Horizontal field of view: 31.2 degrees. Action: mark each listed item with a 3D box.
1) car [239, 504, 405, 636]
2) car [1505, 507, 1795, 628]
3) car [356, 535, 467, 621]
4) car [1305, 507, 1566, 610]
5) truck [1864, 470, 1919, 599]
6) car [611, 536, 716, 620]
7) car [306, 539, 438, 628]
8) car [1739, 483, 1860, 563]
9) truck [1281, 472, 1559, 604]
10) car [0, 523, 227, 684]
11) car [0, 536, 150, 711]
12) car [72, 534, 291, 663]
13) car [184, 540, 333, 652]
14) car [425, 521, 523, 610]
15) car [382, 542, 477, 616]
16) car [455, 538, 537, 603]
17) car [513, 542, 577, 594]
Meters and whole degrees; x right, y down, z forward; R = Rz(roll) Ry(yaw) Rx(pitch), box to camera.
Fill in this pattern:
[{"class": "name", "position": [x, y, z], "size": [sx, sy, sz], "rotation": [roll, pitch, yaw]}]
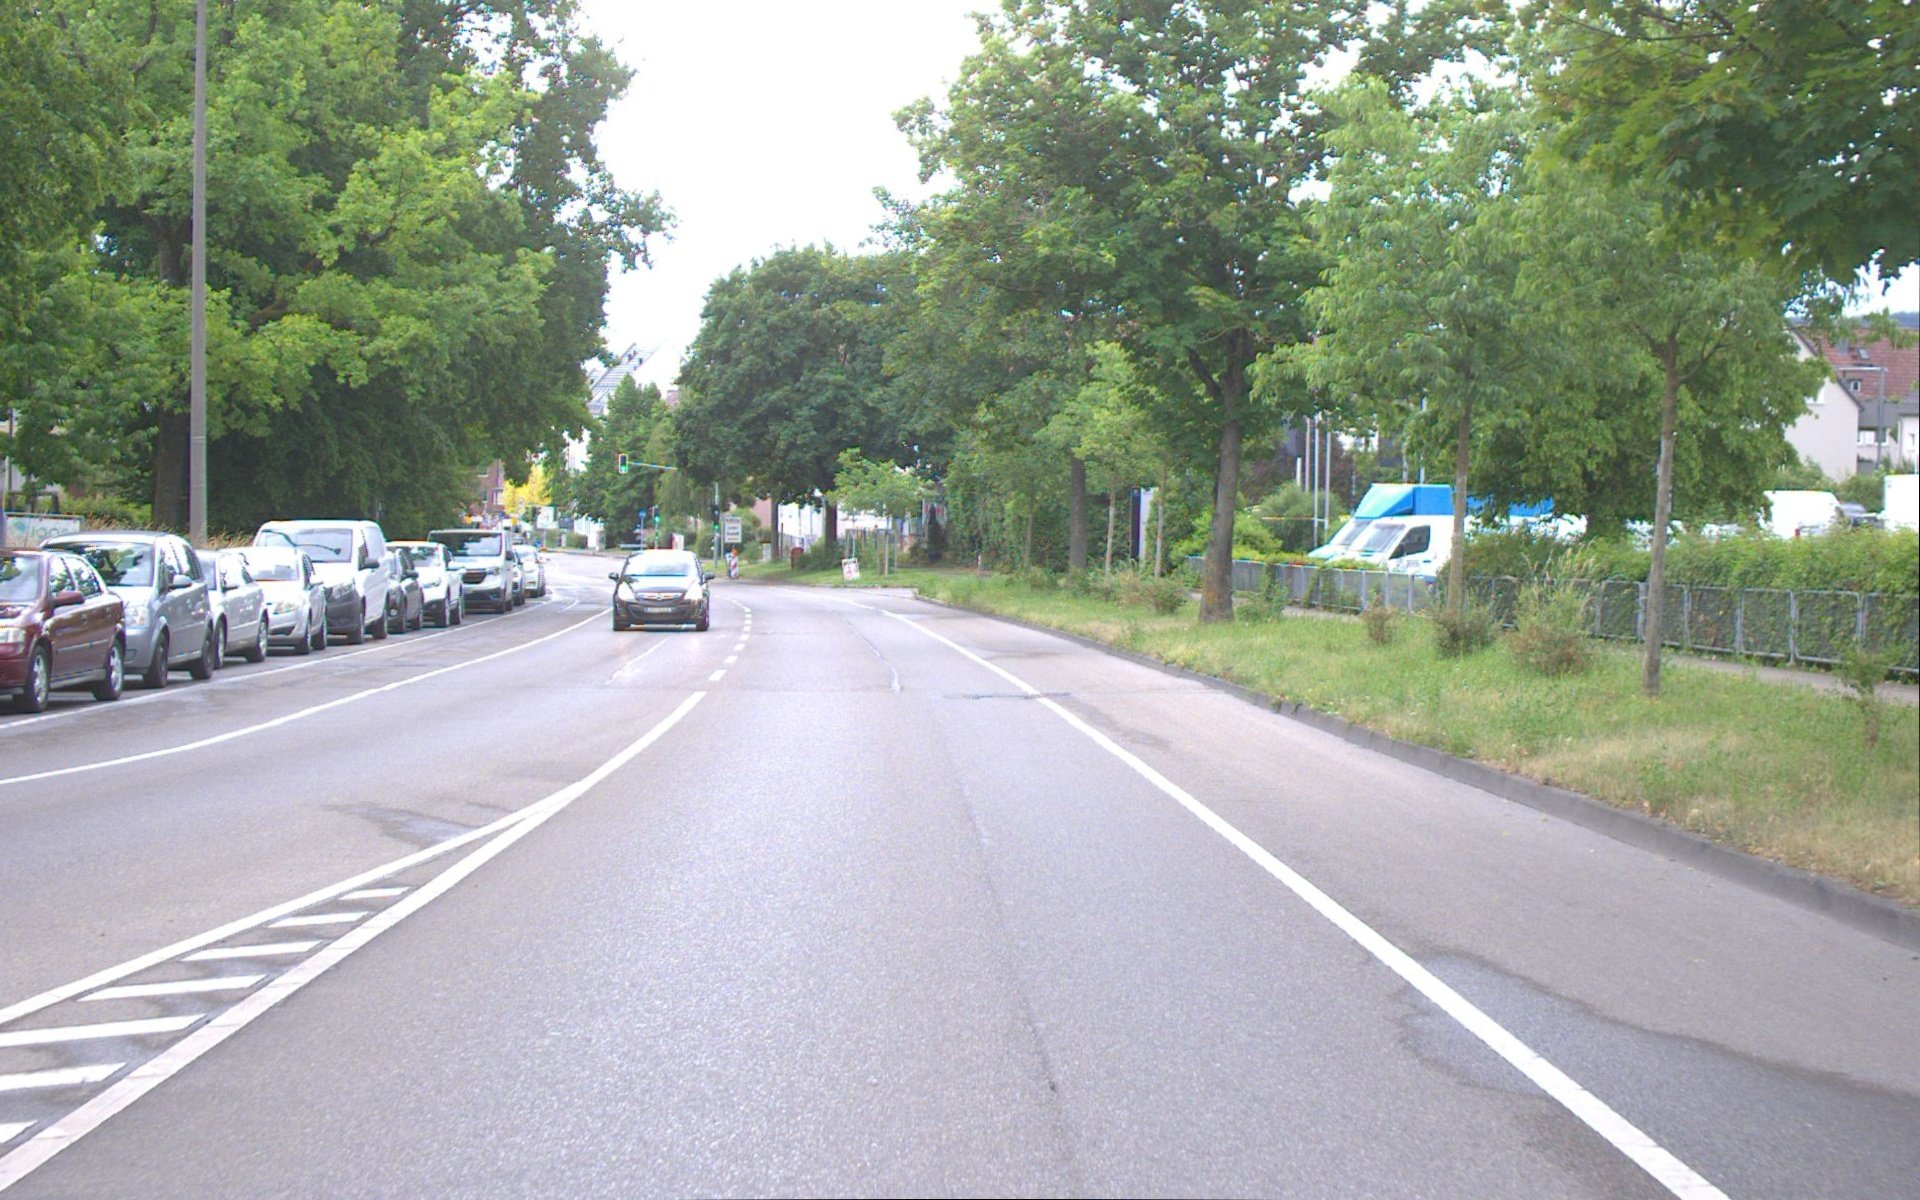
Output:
[{"class": "car", "position": [-9.921, -0.500, 53.768], "size": [1.768, 1.924, 5.156], "rotation": [1, 1, -2]}, {"class": "car", "position": [13.225, -0.617, 65.820], "size": [5.243, 2.180, 2.072], "rotation": [1, 1, -27]}, {"class": "car", "position": [-10.325, -0.431, 64.913], "size": [1.673, 1.559, 4.282], "rotation": [0, 1, -4]}, {"class": "car", "position": [11.708, -1.011, 84.638], "size": [6.009, 2.359, 2.363], "rotation": [1, 1, -26]}, {"class": "truck", "position": [26.974, -1.724, 92.530], "size": [2.853, 3.447, 9.541], "rotation": [1, 1, 1]}, {"class": "car", "position": [-5.352, -0.415, 62.418], "size": [1.637, 1.462, 4.000], "rotation": [0, 1, -1]}, {"class": "car", "position": [-10.245, -0.303, 60.125], "size": [1.673, 1.483, 4.045], "rotation": [-1, 1, -1]}, {"class": "car", "position": [29.977, -2.782, 122.671], "size": [2.260, 2.667, 5.439], "rotation": [2, 4, 36]}, {"class": "truck", "position": [12.412, -1.659, 92.622], "size": [7.162, 3.465, 2.619], "rotation": [0, 1, -27]}, {"class": "car", "position": [-8.929, -0.010, 36.071], "size": [1.768, 1.586, 4.135], "rotation": [0, 1, -3]}, {"class": "car", "position": [-8.651, 0.157, 30.785], "size": [1.768, 1.442, 4.150], "rotation": [0, 1, 1]}, {"class": "car", "position": [-9.678, -0.058, 43.049], "size": [1.768, 1.490, 4.357], "rotation": [-1, 1, 0]}, {"class": "car", "position": [-9.707, -0.082, 47.810], "size": [1.634, 1.428, 3.951], "rotation": [1, 1, -6]}, {"class": "car", "position": [-11.189, -0.809, 79.466], "size": [1.866, 1.957, 5.128], "rotation": [0, 1, -4]}, {"class": "car", "position": [-10.923, -0.440, 70.933], "size": [1.662, 1.474, 4.091], "rotation": [0, 1, -5]}, {"class": "car", "position": [-11.926, -0.768, 88.551], "size": [1.766, 1.628, 4.158], "rotation": [0, 1, -3]}, {"class": "car", "position": [-12.827, -0.987, 106.492], "size": [1.767, 1.567, 4.760], "rotation": [0, 0, -5]}]
